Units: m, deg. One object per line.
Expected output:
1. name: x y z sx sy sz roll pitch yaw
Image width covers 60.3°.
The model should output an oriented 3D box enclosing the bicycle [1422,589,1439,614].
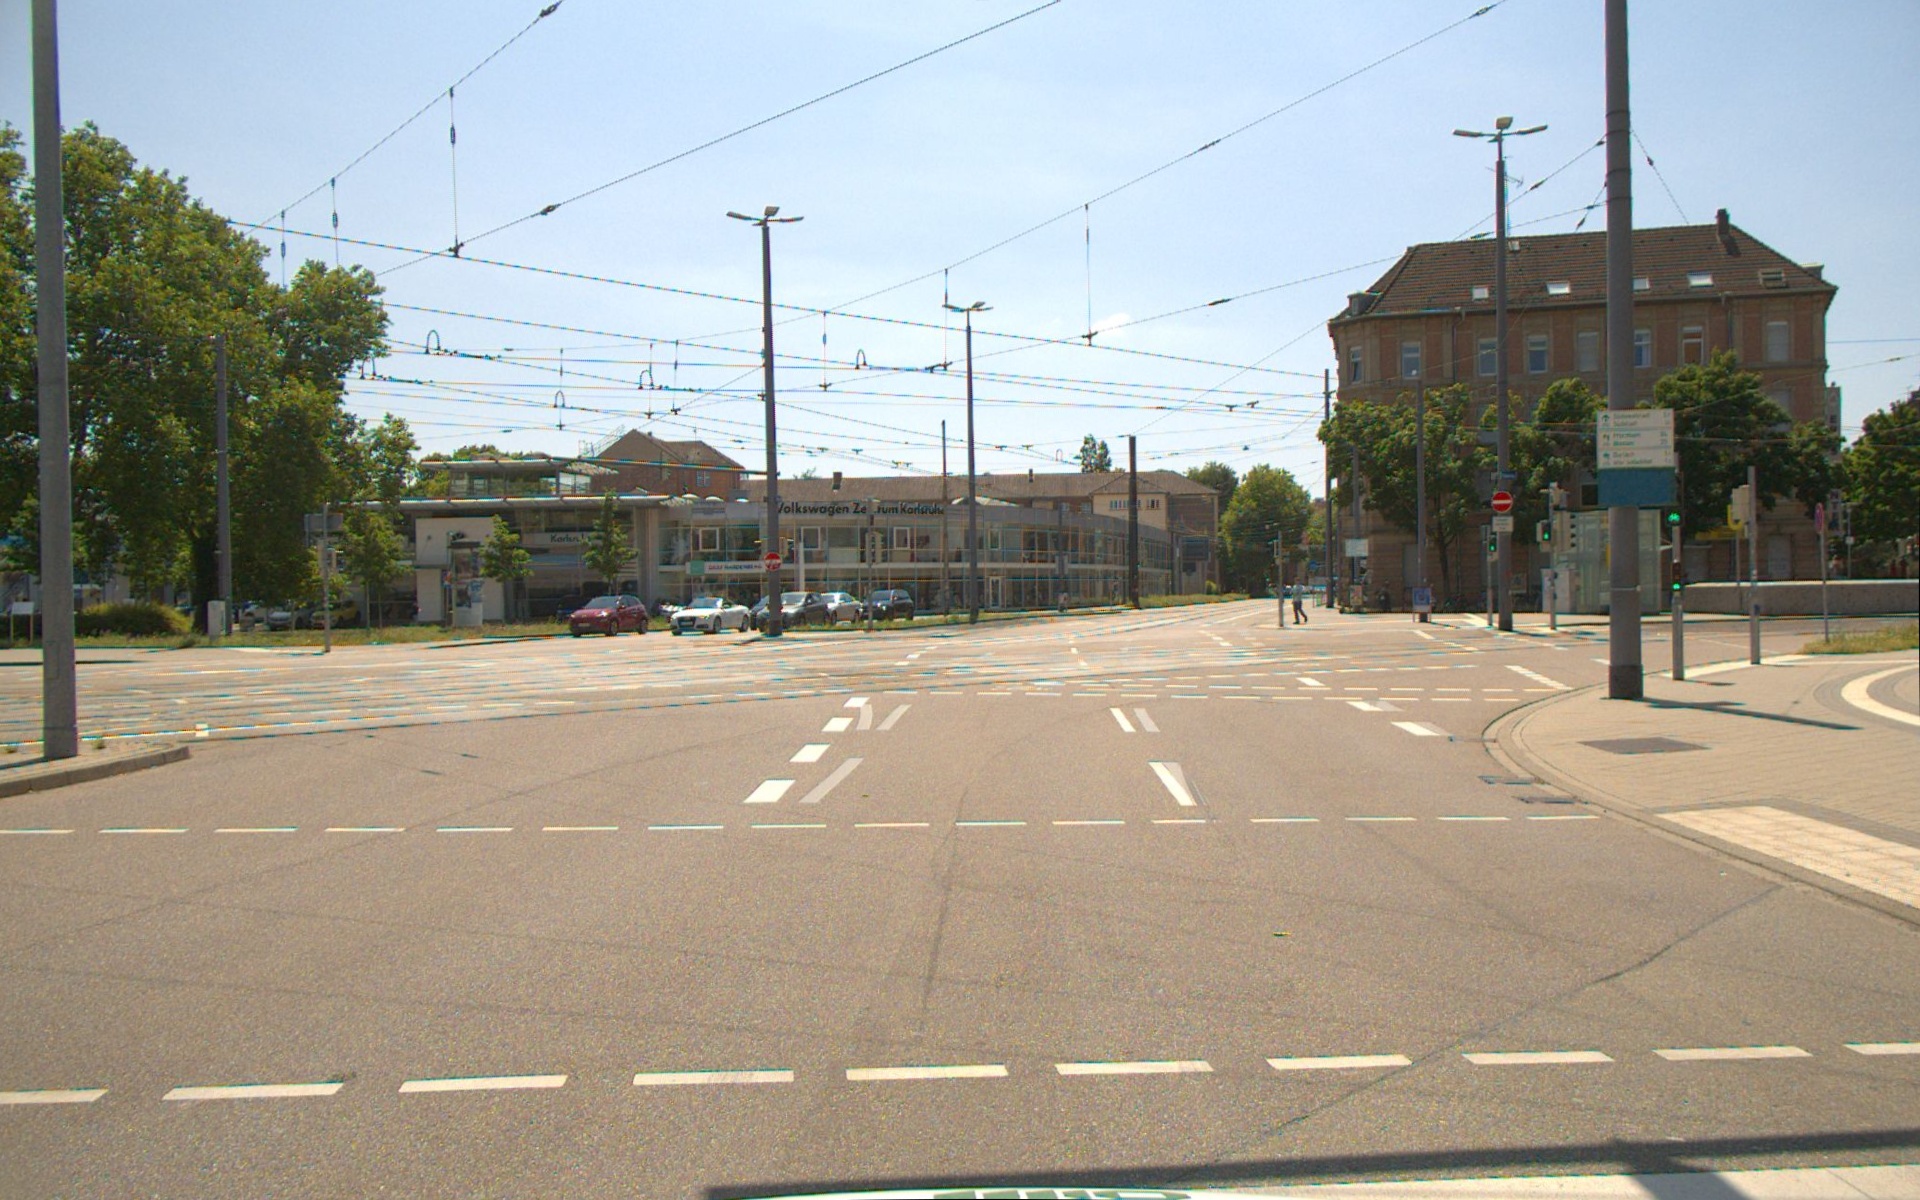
1. bicycle: 22.292 0.074 78.449 0.433 1.166 2.095 1 -1 6

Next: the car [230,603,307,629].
1. car: -44.452 1.011 106.313 4.278 1.536 1.751 -1 0 -36

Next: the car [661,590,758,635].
1. car: -9.565 0.456 63.636 2.032 1.608 4.850 -1 0 13

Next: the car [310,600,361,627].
1. car: -37.849 0.808 100.399 1.732 1.536 4.322 -1 0 -5

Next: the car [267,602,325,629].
1. car: -40.450 0.914 100.892 1.730 1.536 4.327 -1 0 1

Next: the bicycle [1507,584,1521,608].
1. bicycle: 26.191 -0.201 78.178 0.539 1.139 1.872 -1 0 16

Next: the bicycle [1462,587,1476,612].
1. bicycle: 23.988 -0.030 77.982 0.539 1.139 1.821 -1 0 16

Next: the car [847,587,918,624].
1. car: -3.852 0.256 82.611 2.035 1.712 4.849 -1 0 17

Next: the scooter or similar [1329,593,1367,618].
1. scooter or similar: 19.141 0.266 81.506 1.758 1.202 0.597 -1 0 -17

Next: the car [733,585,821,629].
1. car: -7.675 0.274 69.787 1.951 1.730 4.849 -1 0 17

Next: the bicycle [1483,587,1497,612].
1. bicycle: 24.974 -0.015 77.938 0.539 1.139 1.890 -1 0 16

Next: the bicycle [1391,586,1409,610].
1. bicycle: 20.939 -0.093 78.665 0.539 1.139 1.821 -1 0 6

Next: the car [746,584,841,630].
1. car: -6.383 0.235 63.968 1.951 1.666 4.849 -1 0 17

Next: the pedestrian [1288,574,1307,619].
1. pedestrian: 13.185 -0.136 64.673 0.453 1.738 0.637 -1 0 -15

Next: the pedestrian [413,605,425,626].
1. pedestrian: -31.698 0.905 96.894 0.502 1.225 0.446 -1 0 5

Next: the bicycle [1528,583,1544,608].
1. bicycle: 27.277 -0.228 78.332 0.539 1.139 1.931 -1 0 16

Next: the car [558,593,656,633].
1. car: -14.078 0.506 66.347 1.951 1.491 4.850 -1 0 13

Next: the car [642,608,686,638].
1. car: -17.782 1.360 99.575 1.881 1.737 4.000 1 -1 0

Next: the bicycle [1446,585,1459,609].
1. bicycle: 23.280 -0.142 78.228 0.539 1.139 1.821 -1 0 16

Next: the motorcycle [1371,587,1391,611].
1. motorcycle: 20.020 -0.055 78.726 0.568 1.093 1.947 -1 0 4

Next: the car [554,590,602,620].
1. car: -22.934 0.341 99.426 1.881 1.737 4.000 1 -1 0

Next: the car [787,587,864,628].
1. car: -6.119 0.337 75.739 1.951 1.770 4.546 -1 0 17
